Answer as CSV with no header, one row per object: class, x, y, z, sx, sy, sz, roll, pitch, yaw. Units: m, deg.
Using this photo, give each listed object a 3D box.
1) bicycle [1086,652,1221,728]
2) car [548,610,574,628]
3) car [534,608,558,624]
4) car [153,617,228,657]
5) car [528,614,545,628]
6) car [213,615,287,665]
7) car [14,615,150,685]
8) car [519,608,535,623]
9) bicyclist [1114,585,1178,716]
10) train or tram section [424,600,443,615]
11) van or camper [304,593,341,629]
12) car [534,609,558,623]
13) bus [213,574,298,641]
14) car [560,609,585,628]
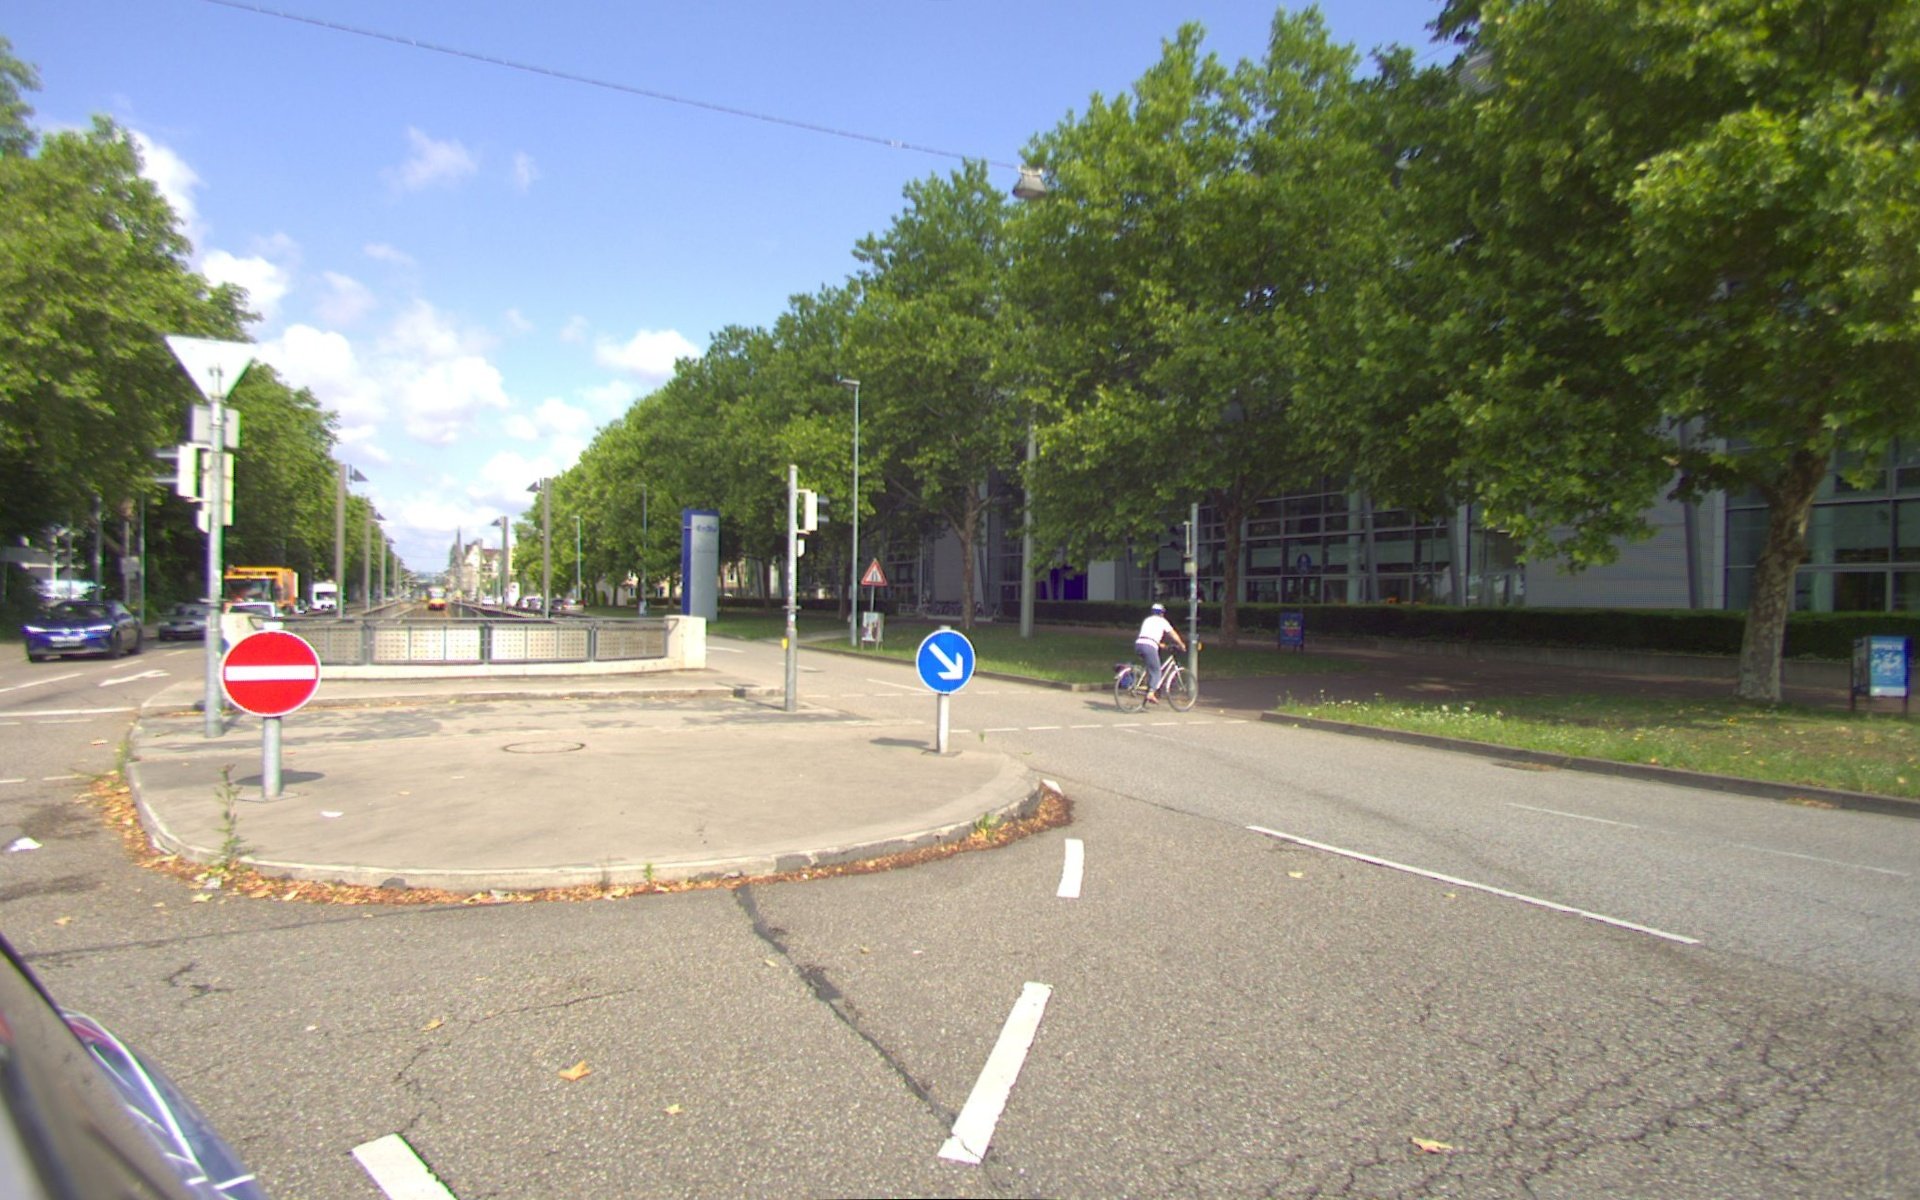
bicycle,3.137,1.417,16.287,2.145,1.094,0.889,2,-1,-35
car,-33.752,1.615,85.571,1.556,1.445,3.167,4,-2,-28
car,-37.451,1.440,91.463,1.553,1.386,3.908,4,-2,-28
car,-30.890,1.465,40.725,1.742,1.475,4.013,1,-1,-28
car,-39.757,1.962,95.054,1.161,1.252,2.557,3,-2,-29
car,-24.242,1.322,34.665,1.708,1.497,3.613,-2,2,-30
car,-24.262,1.312,28.163,1.860,1.587,4.595,-2,1,-28
car,-42.238,1.549,98.670,1.148,1.386,2.754,4,-2,-28
bicyclist,2.961,0.800,16.106,0.719,2.029,0.605,3,-2,-35
train or tram section,-86.633,1.206,166.411,2.180,2.477,6.266,2,-1,-33
van or camper,-51.561,0.905,81.929,2.128,2.807,5.984,2,-1,-29
car,-37.250,1.445,91.124,1.585,1.214,3.138,4,-2,-29
bus,-40.120,0.442,57.972,2.699,3.492,10.428,2,-1,-28
car,-30.451,1.440,79.432,1.397,1.467,3.167,4,-2,-28
